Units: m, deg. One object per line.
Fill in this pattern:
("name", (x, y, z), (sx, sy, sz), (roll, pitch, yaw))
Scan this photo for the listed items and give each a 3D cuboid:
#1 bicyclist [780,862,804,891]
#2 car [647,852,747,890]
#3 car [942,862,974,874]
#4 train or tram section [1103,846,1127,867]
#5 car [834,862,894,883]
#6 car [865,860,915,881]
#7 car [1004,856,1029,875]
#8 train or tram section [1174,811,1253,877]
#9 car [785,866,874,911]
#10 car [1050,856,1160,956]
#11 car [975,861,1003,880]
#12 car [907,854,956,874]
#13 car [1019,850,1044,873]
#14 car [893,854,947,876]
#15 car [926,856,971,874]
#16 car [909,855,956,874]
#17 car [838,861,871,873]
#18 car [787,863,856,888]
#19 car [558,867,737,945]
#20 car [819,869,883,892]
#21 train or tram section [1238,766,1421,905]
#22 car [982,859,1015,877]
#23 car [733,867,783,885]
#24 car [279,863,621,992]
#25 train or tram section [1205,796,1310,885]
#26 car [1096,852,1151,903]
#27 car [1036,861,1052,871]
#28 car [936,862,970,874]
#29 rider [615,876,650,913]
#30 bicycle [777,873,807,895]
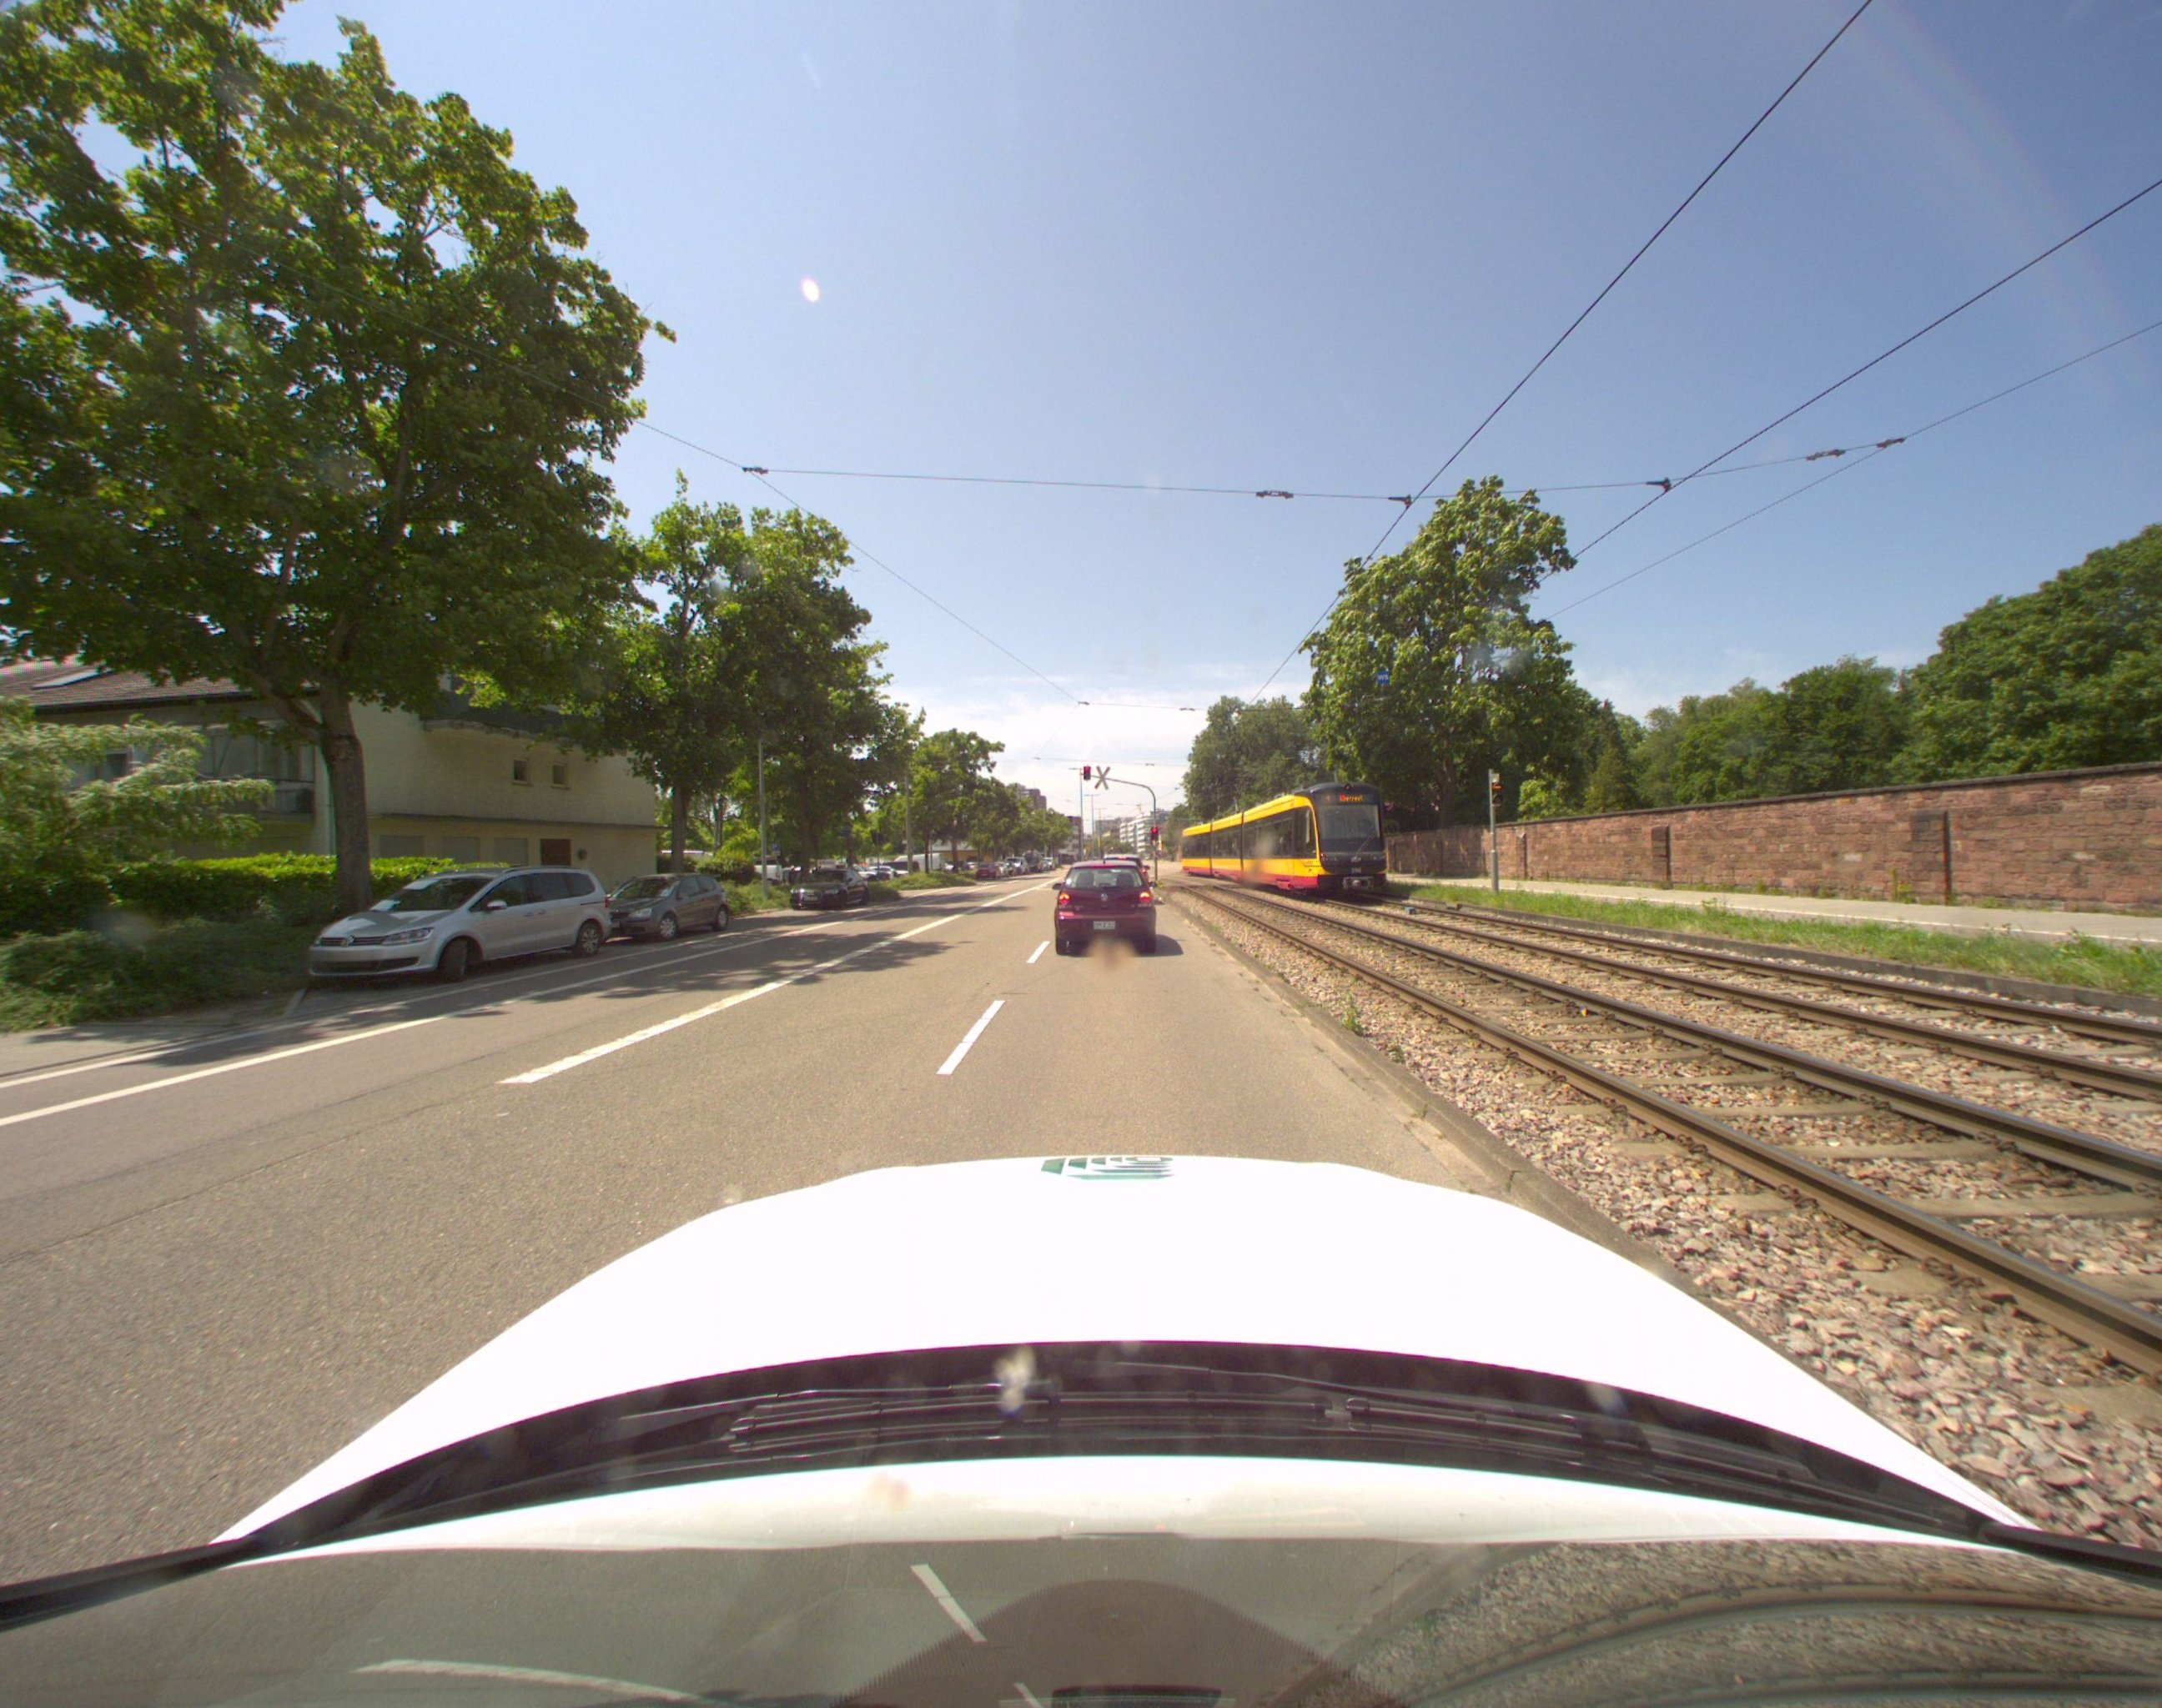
("bicyclist", (-14.108, 1.084, 39.796), (0.805, 1.374, 0.829), (0, -1, 5))
("car", (-30.798, 1.377, 65.499), (6.828, 2.965, 2.364), (0, -1, 0))
("car", (-16.472, 1.872, 109.058), (4.003, 1.617, 1.818), (0, -1, 3))
("train or tram section", (6.053, 0.484, 147.734), (2.736, 3.609, 12.848), (0, 0, -5))
("car", (-17.764, 1.496, 66.706), (4.318, 1.585, 1.917), (-2, 0, 8))
("car", (-17.503, 1.459, 74.740), (3.973, 1.746, 1.998), (-2, 0, 1))
("car", (-6.737, 1.235, 85.142), (1.774, 1.882, 4.792), (0, -1, 5))
("train or tram section", (8.631, -0.571, 54.885), (3.019, 3.798, 12.754), (-2, 0, -1))
("car", (-9.340, 1.237, 30.625), (1.812, 1.476, 4.450), (0, 0, 2))
("car", (0.416, 0.792, 14.373), (1.666, 1.521, 4.001), (0, 0, 1))
("car", (-7.675, 1.389, 68.362), (1.655, 1.497, 4.004), (0, -1, 4))
("car", (-17.087, 1.203, 93.328), (5.076, 2.244, 2.380), (0, -1, 3))
("car", (-5.940, 0.975, 98.179), (2.352, 2.692, 5.311), (0, -1, 3))
("car", (-16.775, 1.205, 85.260), (5.076, 2.244, 2.380), (0, -1, 3))
("car", (-16.531, 1.349, 101.697), (5.076, 2.244, 2.380), (0, -1, 3))
("car", (-17.550, 1.255, 96.491), (5.076, 2.244, 2.380), (0, -1, 3))
("car", (-30.772, 1.731, 110.616), (4.006, 1.617, 1.816), (0, -1, 0))
("car", (-18.729, 1.559, 58.916), (4.329, 1.585, 1.912), (-2, 0, 0))
("car", (-9.823, 1.107, 18.874), (1.812, 1.564, 4.182), (0, 0, 2))
("car", (-17.995, 2.040, 63.860), (4.319, 1.585, 1.917), (-2, 0, 7))
("train or tram section", (8.186, -0.496, 29.300), (3.016, 3.798, 13.097), (-2, 0, 2))
("car", (-7.545, 1.295, 74.915), (1.965, 1.601, 4.566), (0, -1, 7))
("car", (-29.873, 2.037, 75.430), (3.982, 1.653, 1.812), (0, -1, -7))
("car", (-10.058, 1.042, 13.622), (1.866, 1.664, 4.783), (-1, 0, 2))
("train or tram section", (8.725, -0.586, 42.229), (3.016, 3.798, 13.097), (-2, 0, 2))
("car", (1.419, 0.776, 28.323), (1.770, 1.647, 4.001), (0, 0, 1))
("car", (-5.222, 1.668, 115.820), (1.606, 1.441, 4.006), (0, -1, 6))
("car", (-16.618, 1.819, 105.978), (4.003, 1.617, 1.818), (0, -1, 3))
("rider", (-17.441, 1.574, 31.713), (0.820, 1.374, 0.814), (-2, 0, 10))
("bicycle", (-14.110, 1.466, 39.805), (0.697, 1.030, 1.831), (0, -1, 5))
